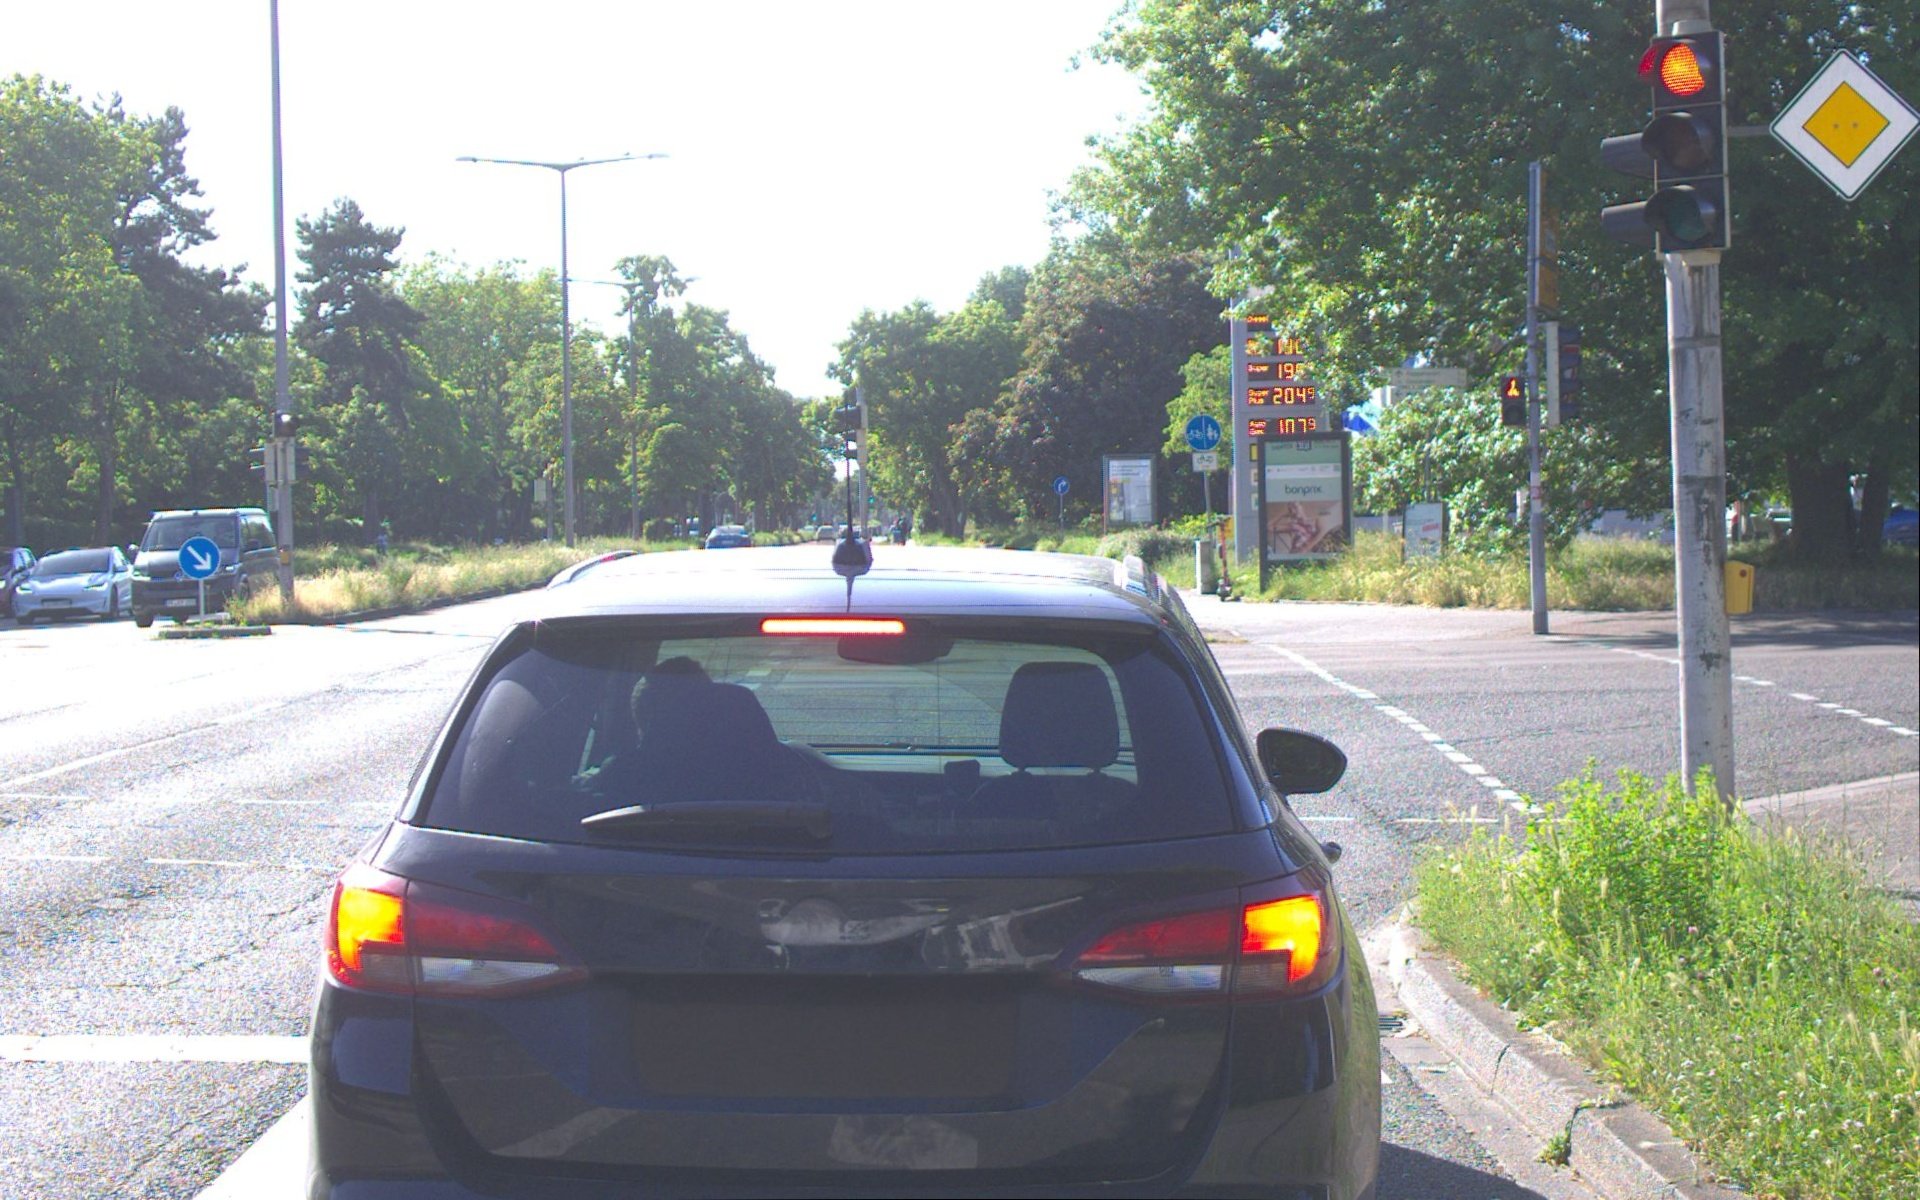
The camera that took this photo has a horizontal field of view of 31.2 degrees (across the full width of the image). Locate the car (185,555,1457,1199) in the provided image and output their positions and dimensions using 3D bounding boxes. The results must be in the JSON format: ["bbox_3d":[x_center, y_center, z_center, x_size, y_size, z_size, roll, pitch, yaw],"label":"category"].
[{"bbox_3d":[-0.217,0.669,6.660,1.755,1.504,3.809,0,1,-1],"label":"car"}]

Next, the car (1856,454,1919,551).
[{"bbox_3d":[16.834,-1.566,56.749,3.836,1.558,1.805,1,1,-32],"label":"car"}]

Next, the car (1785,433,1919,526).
[{"bbox_3d":[17.701,-2.254,65.009,3.711,1.679,1.704,1,1,-3],"label":"car"}]

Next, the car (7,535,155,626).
[{"bbox_3d":[-17.077,-0.391,66.943,1.864,1.678,4.000,1,1,-1],"label":"car"}]

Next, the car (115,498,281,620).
[{"bbox_3d":[-13.141,-0.706,59.542,1.993,2.007,4.000,1,1,-1],"label":"car"}]

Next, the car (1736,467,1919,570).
[{"bbox_3d":[15.361,-1.380,59.044,3.711,1.679,1.704,1,1,-27],"label":"car"}]

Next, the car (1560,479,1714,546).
[{"bbox_3d":[18.158,-2.337,92.261,3.711,1.679,1.704,1,1,-3],"label":"car"}]

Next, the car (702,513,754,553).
[{"bbox_3d":[-9.548,-2.748,141.583,1.888,1.546,4.000,-1,1,-1],"label":"car"}]

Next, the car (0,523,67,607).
[{"bbox_3d":[-20.719,-0.760,73.984,1.993,1.744,4.000,-1,1,-1],"label":"car"}]
